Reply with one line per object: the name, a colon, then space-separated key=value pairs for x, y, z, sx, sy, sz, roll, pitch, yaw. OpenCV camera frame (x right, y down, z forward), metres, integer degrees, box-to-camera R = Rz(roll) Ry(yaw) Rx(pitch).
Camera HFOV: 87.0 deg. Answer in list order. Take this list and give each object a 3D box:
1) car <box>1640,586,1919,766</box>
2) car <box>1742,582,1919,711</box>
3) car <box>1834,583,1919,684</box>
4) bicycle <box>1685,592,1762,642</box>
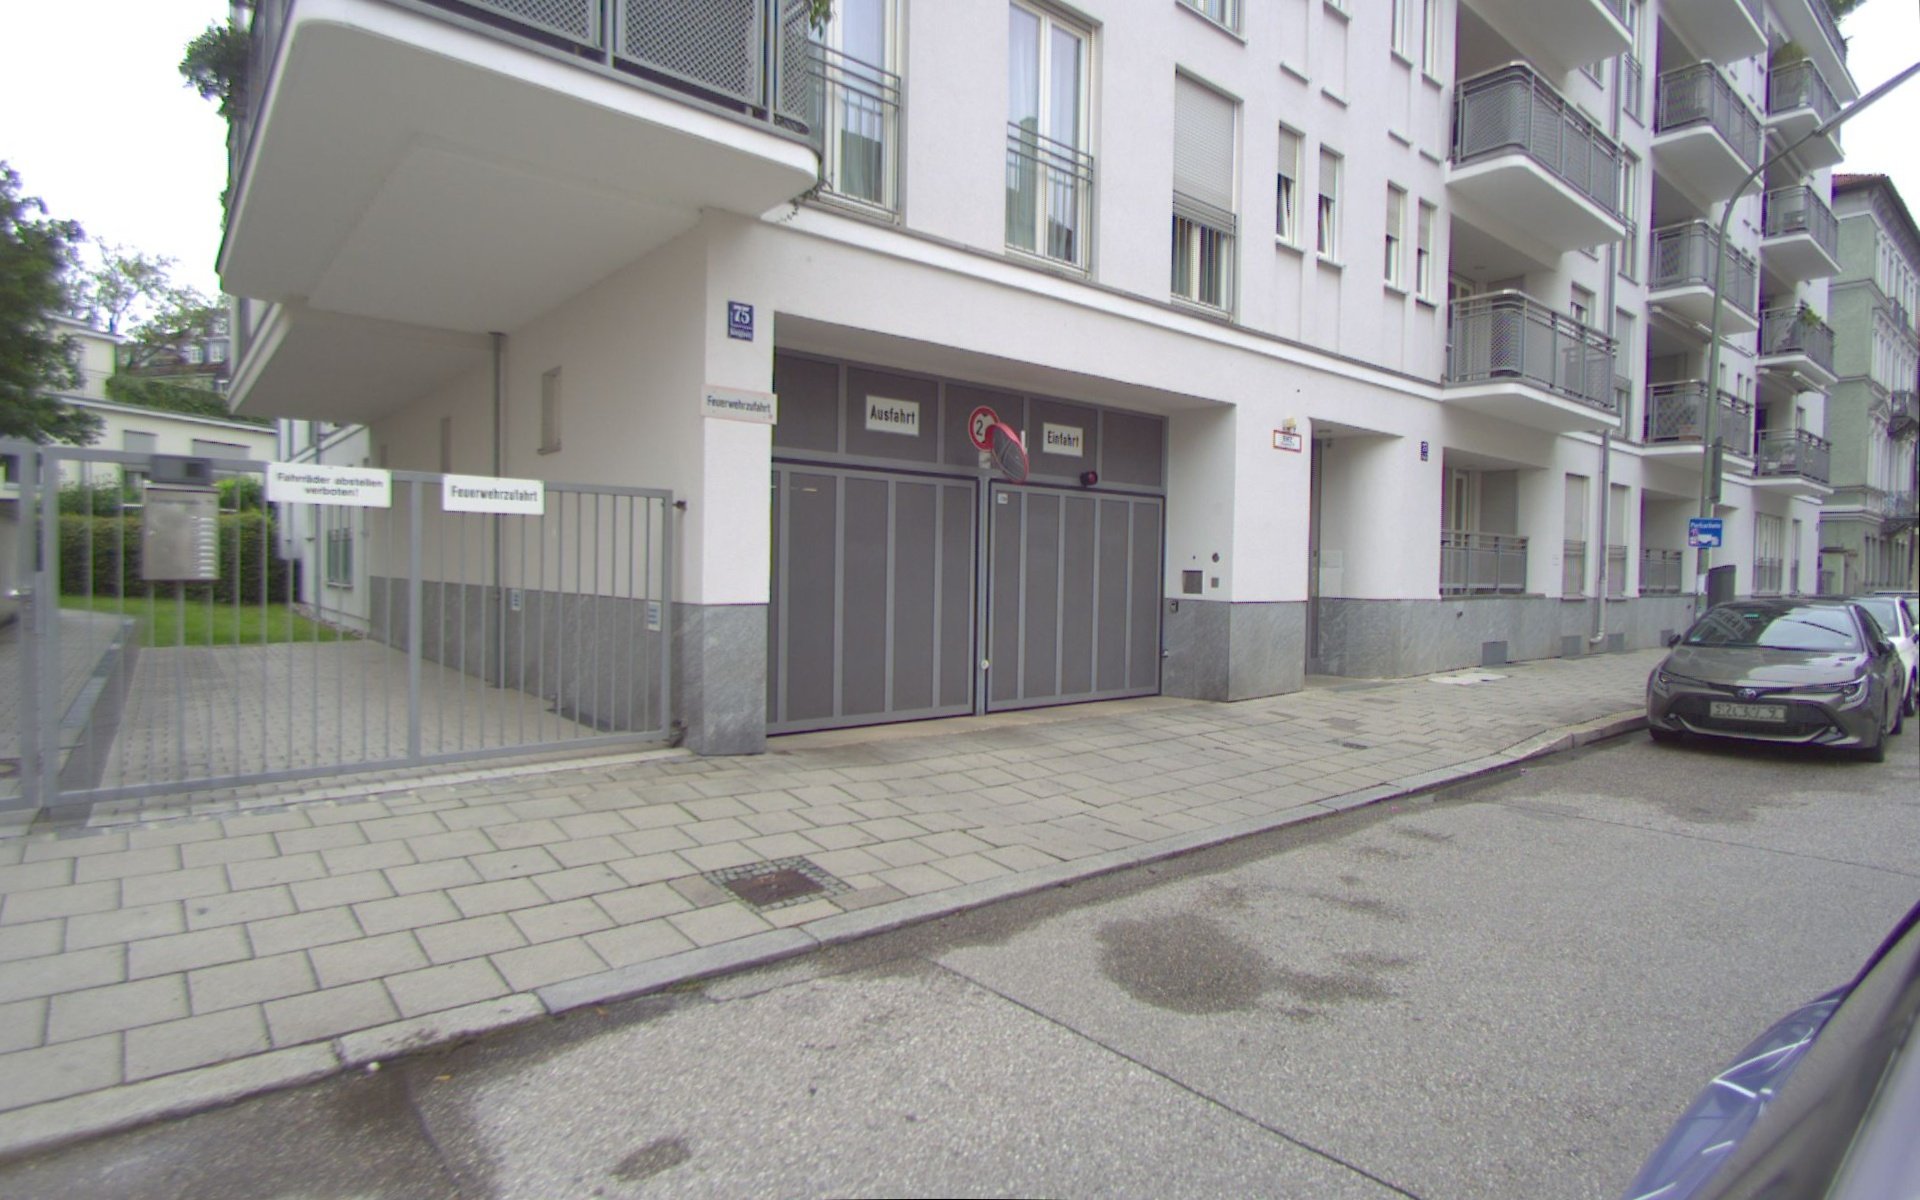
car: x=8.565 y=0.598 z=10.402 sx=4.177 sy=1.411 sz=1.781 roll=-1 pitch=3 yaw=-44
car: x=12.049 y=0.523 z=13.654 sx=3.359 sy=1.475 sz=1.765 roll=-1 pitch=2 yaw=-42
car: x=15.615 y=0.482 z=16.353 sx=3.683 sy=1.475 sz=1.765 roll=-1 pitch=2 yaw=-42
bicycle: x=16.552 y=0.351 z=21.921 sx=1.913 sy=1.027 sz=0.582 roll=0 pitch=1 yaw=-28
